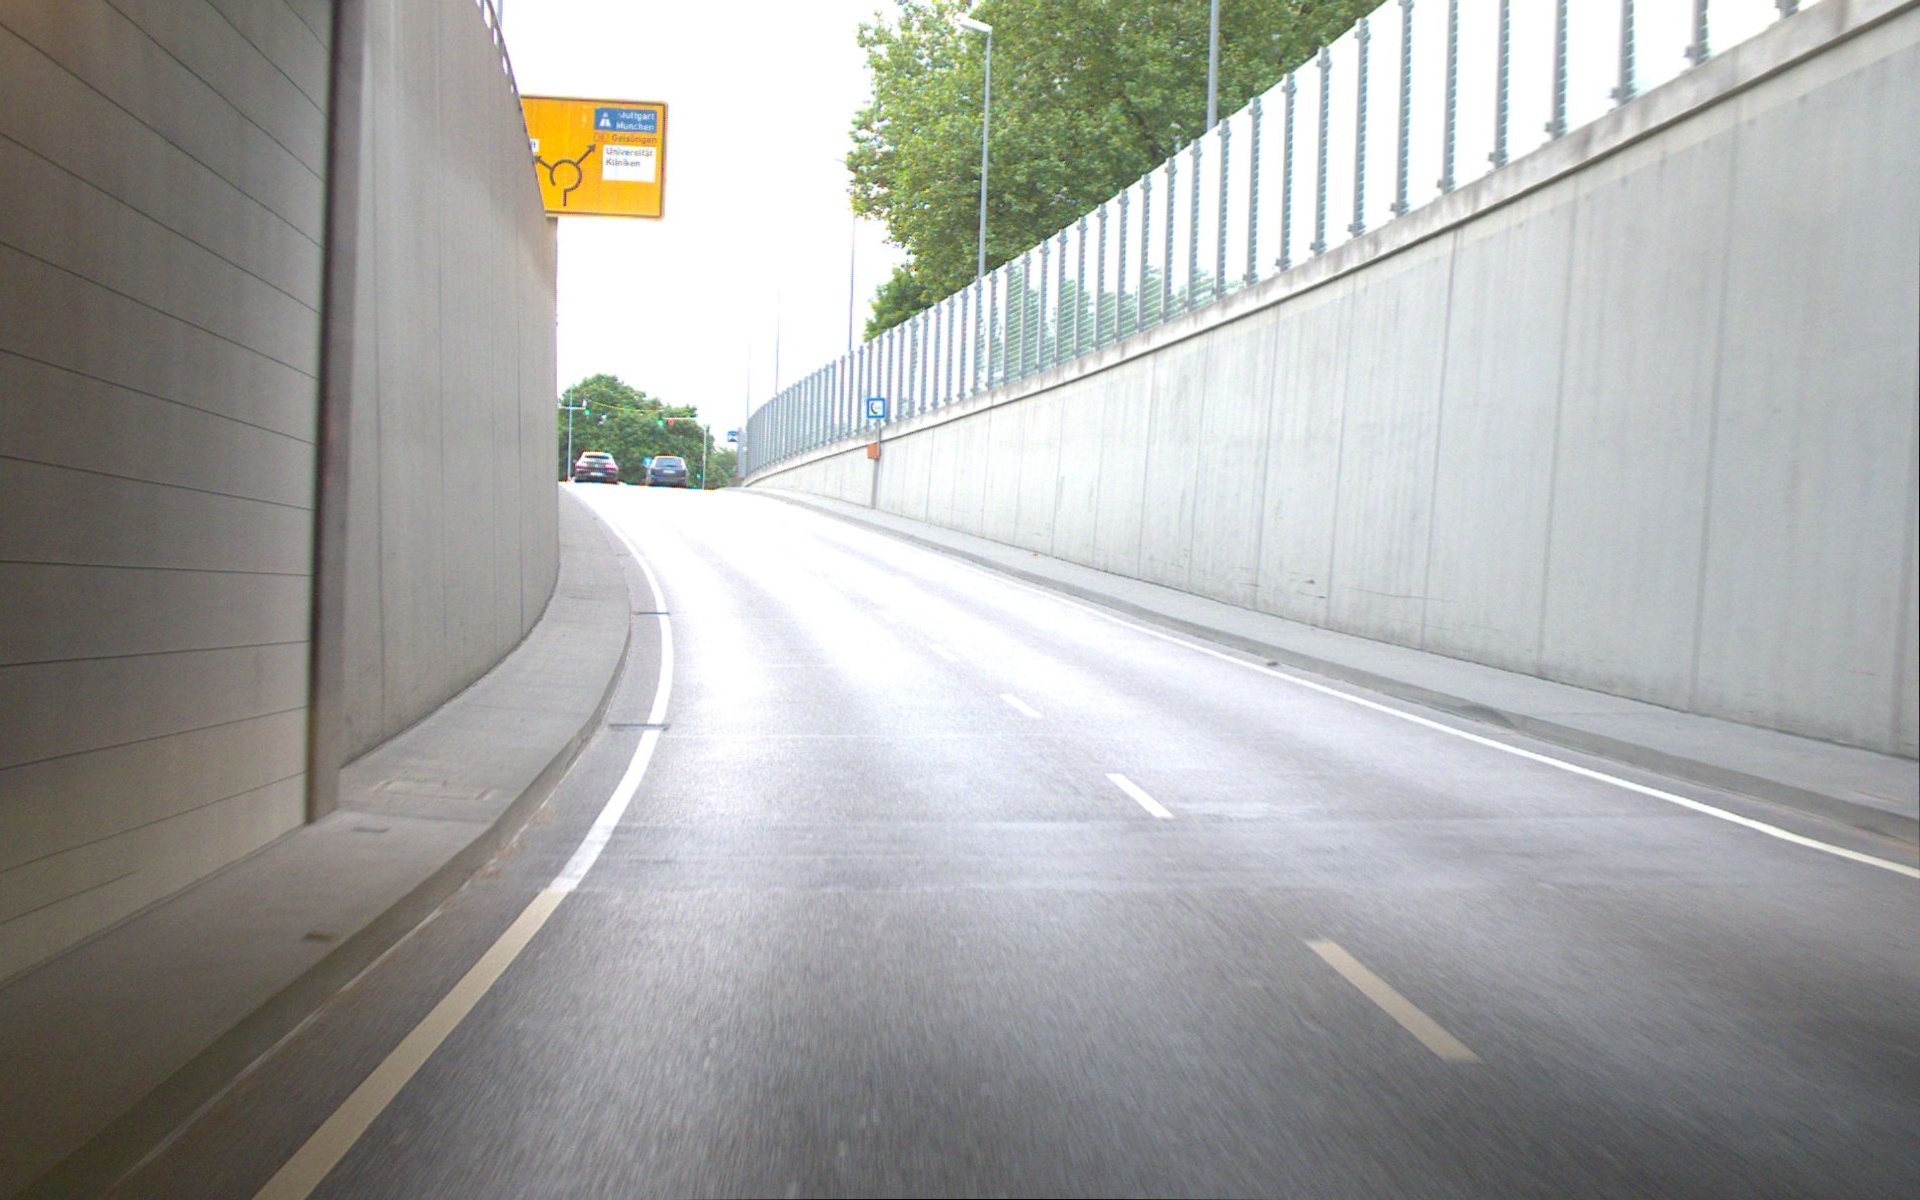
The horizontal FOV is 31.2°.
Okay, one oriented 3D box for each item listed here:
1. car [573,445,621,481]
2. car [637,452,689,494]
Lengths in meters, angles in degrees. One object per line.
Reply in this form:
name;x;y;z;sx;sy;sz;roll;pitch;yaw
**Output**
car;-15.759;-5.935;149.031;1.841;1.384;4.001;2;0;-9
car;-13.273;-5.640;153.415;1.869;1.726;4.001;1;0;-11
